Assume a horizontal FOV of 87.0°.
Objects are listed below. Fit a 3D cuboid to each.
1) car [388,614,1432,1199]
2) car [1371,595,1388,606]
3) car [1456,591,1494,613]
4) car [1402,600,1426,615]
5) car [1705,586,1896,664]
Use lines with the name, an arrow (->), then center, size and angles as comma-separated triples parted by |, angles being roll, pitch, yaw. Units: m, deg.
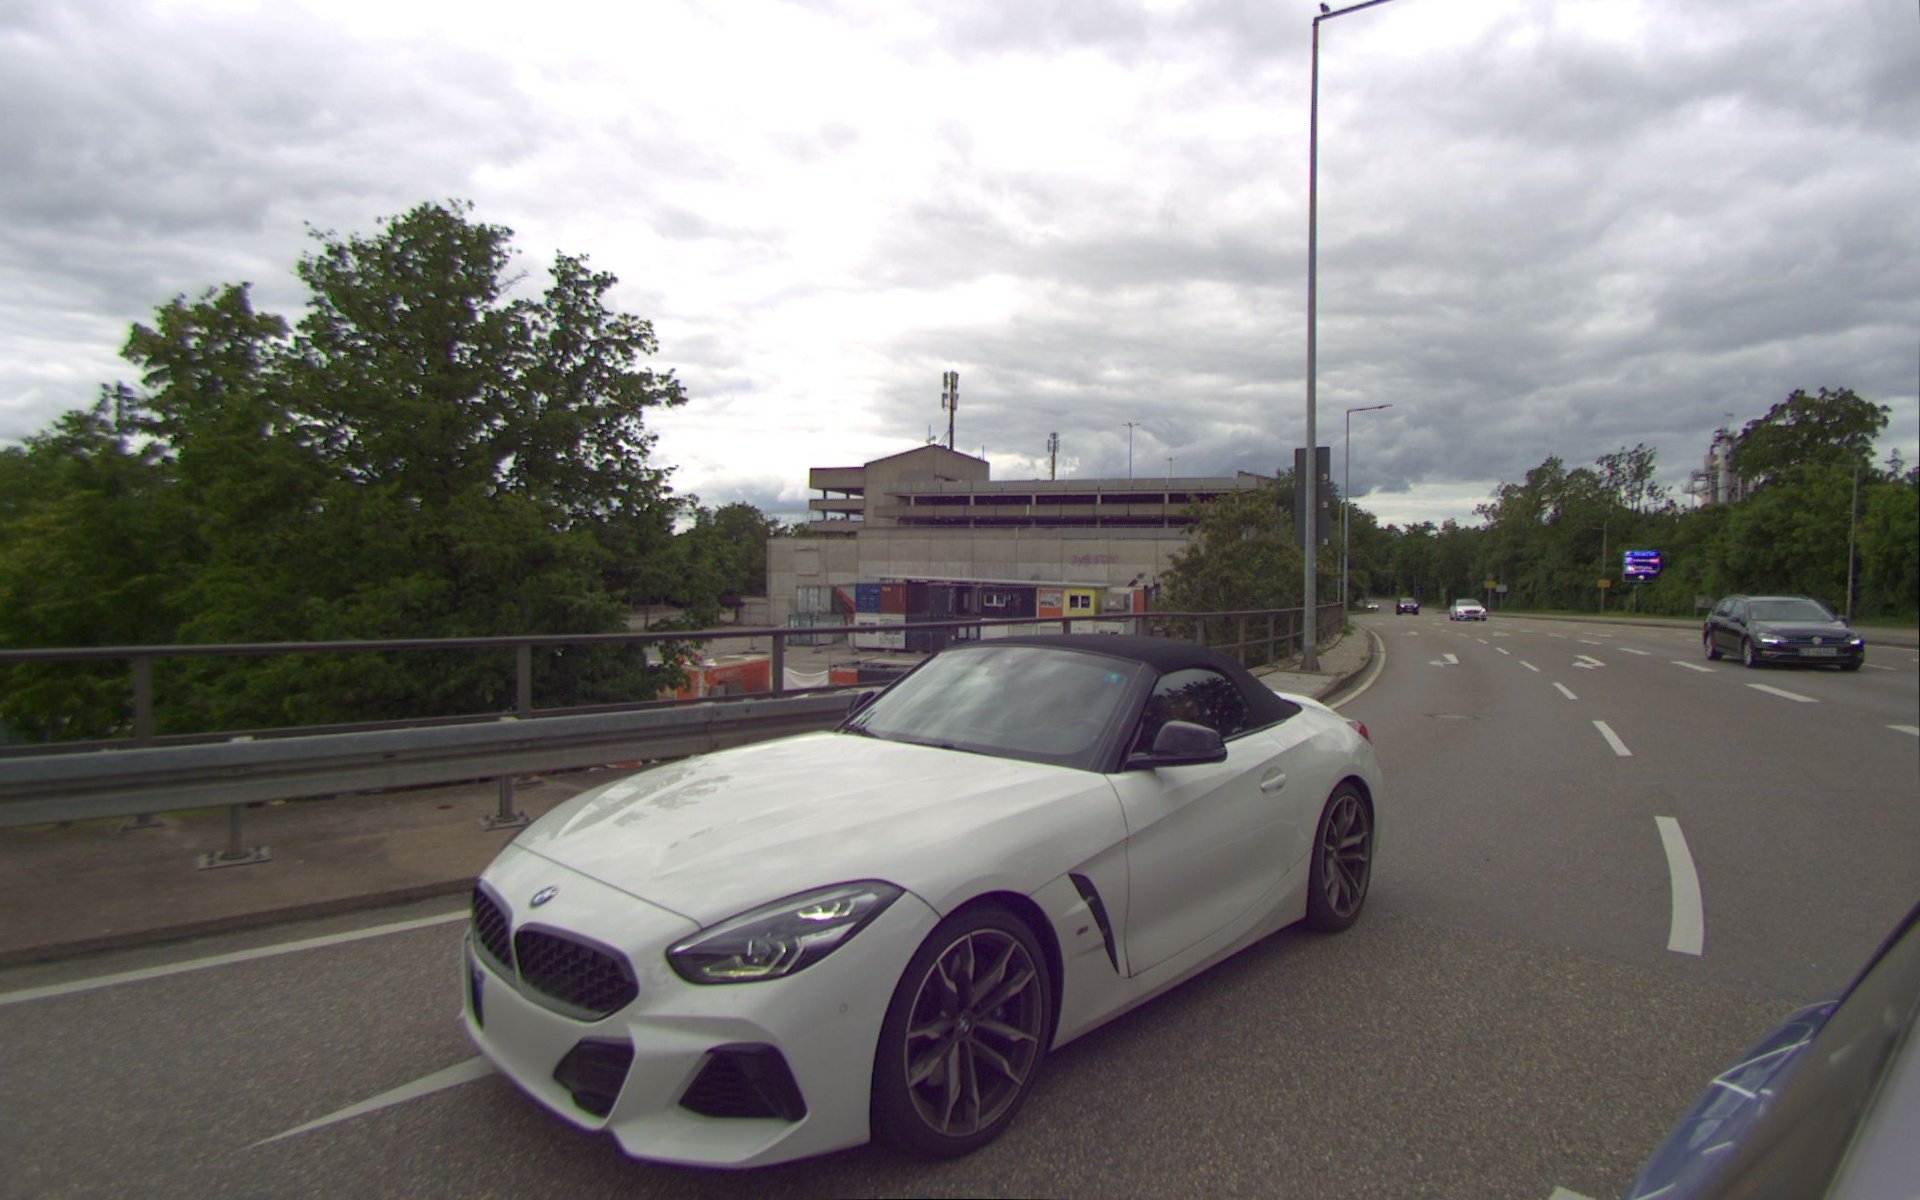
car -> 0.244, 0.766, 4.156 | 1.805, 1.308, 4.196 | -1, 0, 44
car -> 67.073, 0.079, 161.910 | 1.971, 1.728, 3.980 | -3, -2, 15
car -> 34.551, 0.144, 67.925 | 1.844, 1.434, 4.307 | 0, 0, 22
car -> 46.040, 0.773, 102.729 | 1.842, 1.434, 4.311 | 0, 0, 19
car -> 17.078, 0.439, 20.829 | 1.845, 1.434, 4.304 | 0, 0, 23
